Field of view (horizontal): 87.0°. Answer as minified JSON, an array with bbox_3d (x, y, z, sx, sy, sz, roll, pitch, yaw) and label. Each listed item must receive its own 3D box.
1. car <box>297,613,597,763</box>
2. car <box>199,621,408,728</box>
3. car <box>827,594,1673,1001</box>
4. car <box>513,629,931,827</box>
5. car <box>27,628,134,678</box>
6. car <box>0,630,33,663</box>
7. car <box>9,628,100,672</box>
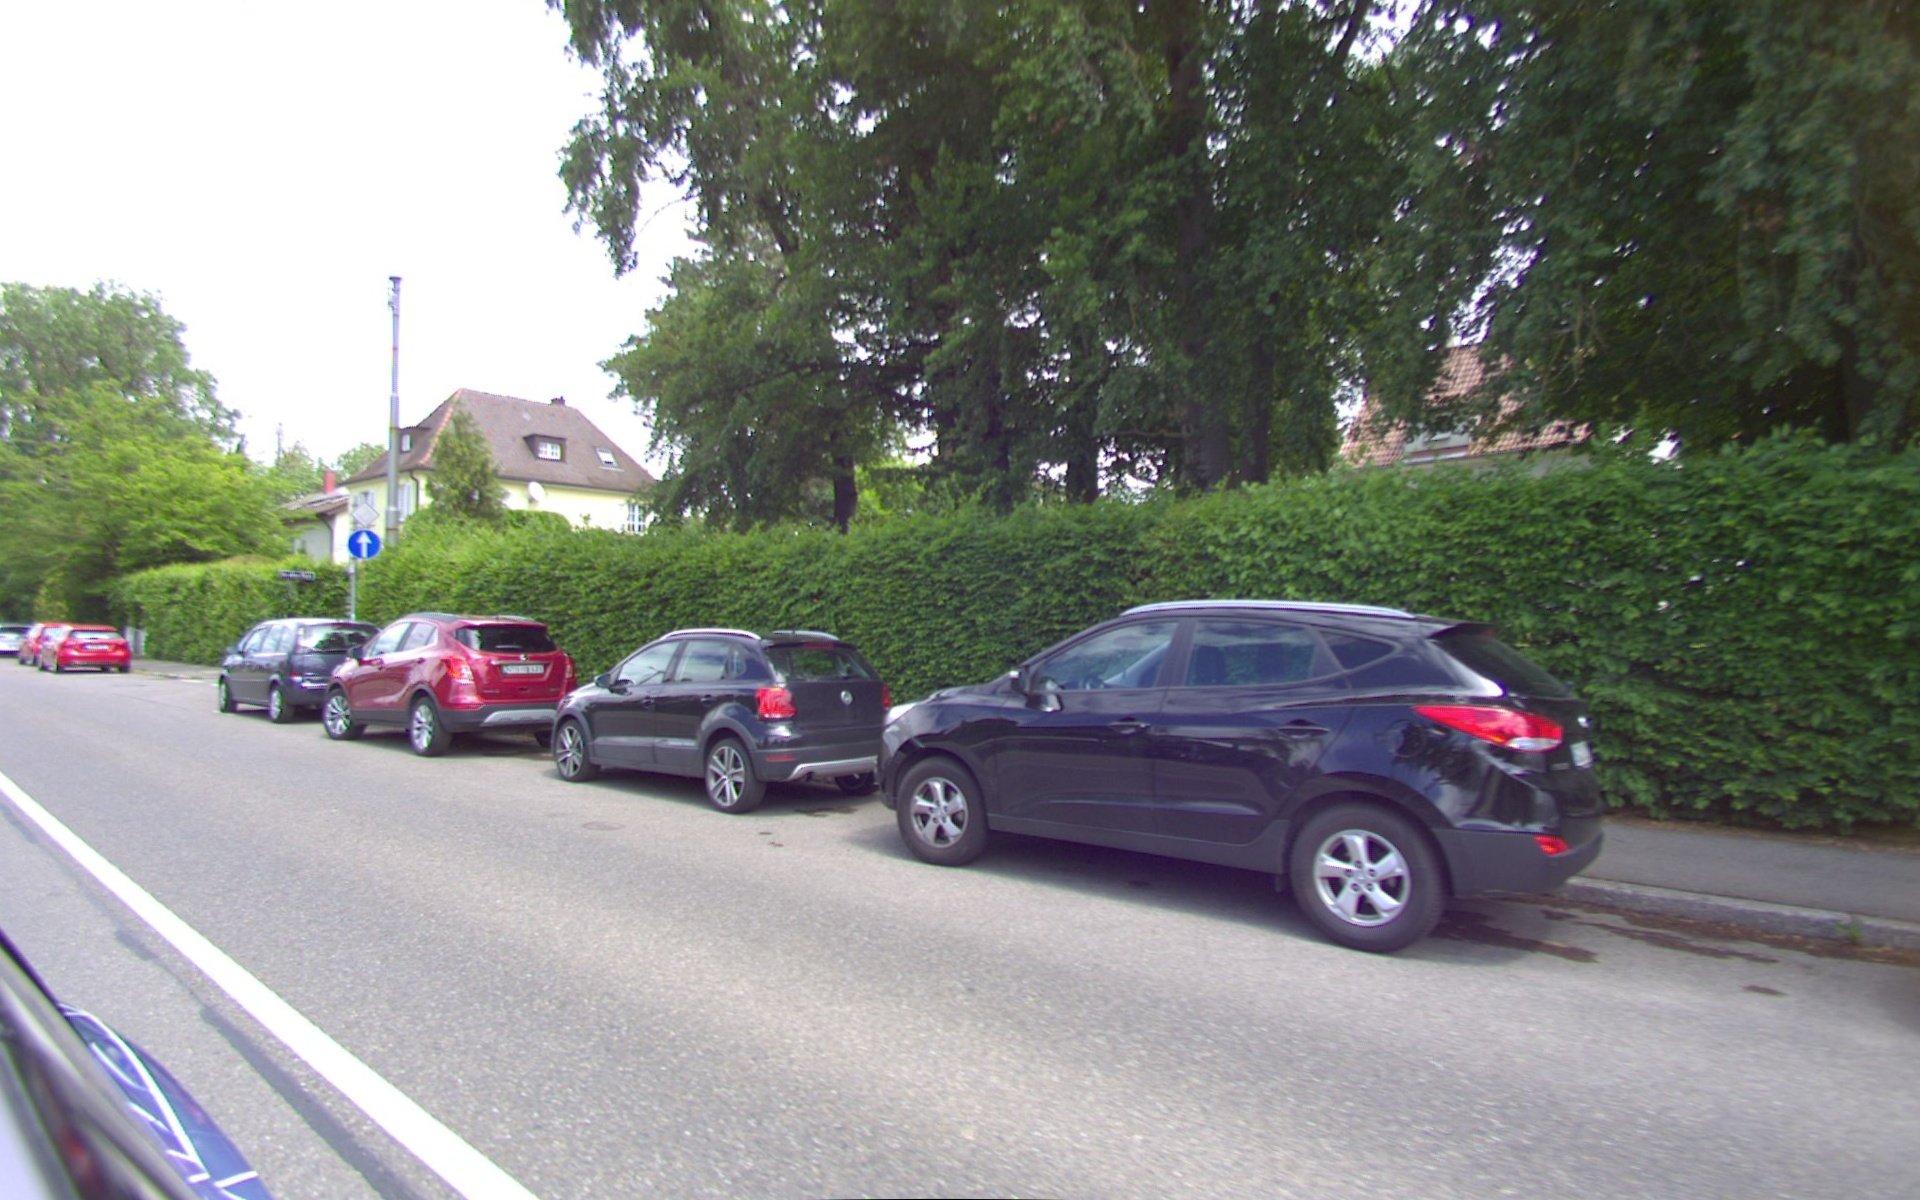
[{"bbox_3d":[-6.731,1.014,13.098,4.410,1.623,1.773,-1,-2,38],"label":"car"},{"bbox_3d":[-10.964,1.146,16.783,4.325,1.546,1.739,-1,-3,41],"label":"car"},{"bbox_3d":[1.471,0.838,6.209,4.638,1.606,1.878,-1,-2,39],"label":"car"},{"bbox_3d":[-2.407,1.016,9.628,4.234,1.470,1.715,-1,-2,41],"label":"car"},{"bbox_3d":[-26.899,1.572,30.918,4.064,1.413,1.946,-1,-2,41],"label":"car"},{"bbox_3d":[-41.381,1.996,43.855,1.653,1.381,3.608,4,-4,-44],"label":"car"},{"bbox_3d":[-31.797,1.721,35.511,3.745,1.461,1.830,-1,-2,40],"label":"car"}]
